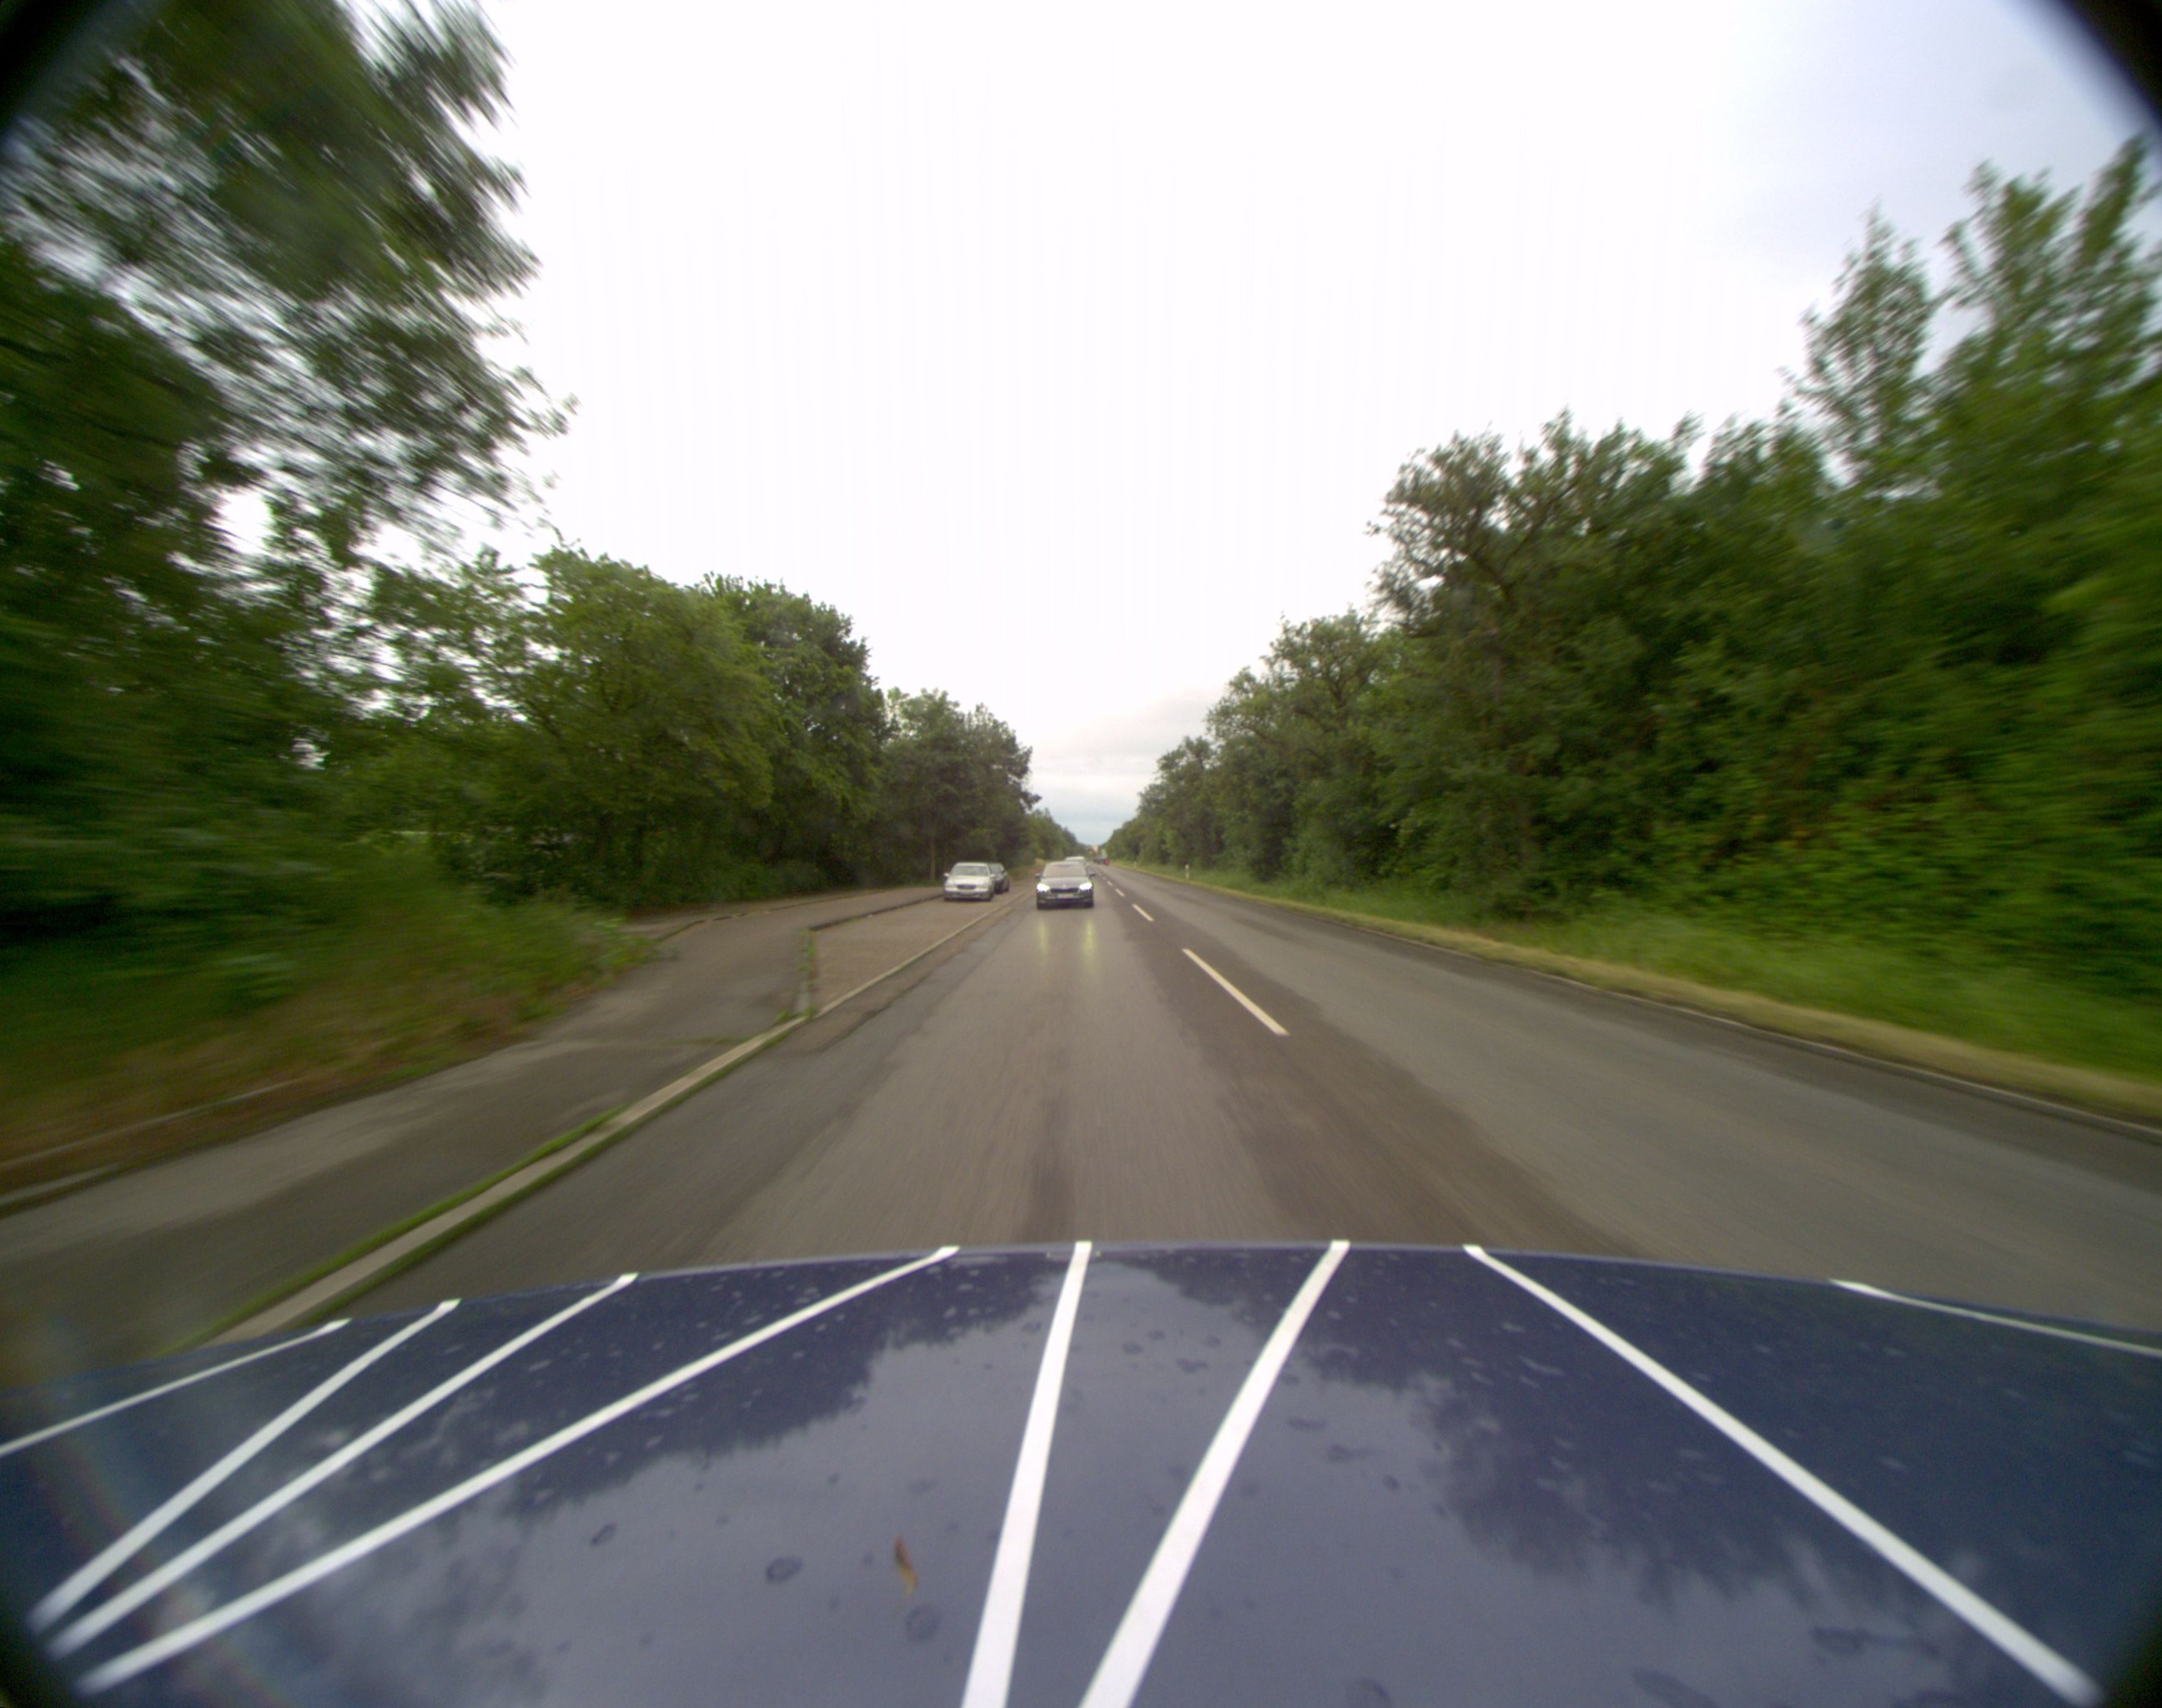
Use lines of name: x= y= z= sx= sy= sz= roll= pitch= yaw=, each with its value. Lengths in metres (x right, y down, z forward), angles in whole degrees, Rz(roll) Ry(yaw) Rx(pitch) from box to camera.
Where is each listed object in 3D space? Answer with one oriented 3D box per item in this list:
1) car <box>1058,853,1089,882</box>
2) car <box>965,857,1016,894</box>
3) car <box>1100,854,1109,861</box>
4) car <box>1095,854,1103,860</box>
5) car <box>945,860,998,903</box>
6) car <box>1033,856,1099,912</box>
car: x=-0.495 y=0.864 z=50.817 sx=1.915 sy=1.690 sz=3.913 roll=-3 pitch=1 yaw=0
car: x=-4.182 y=0.955 z=35.647 sx=1.810 sy=1.501 sz=4.667 roll=1 pitch=1 yaw=0
car: x=4.897 y=0.776 z=161.057 sx=1.793 sy=1.465 sz=3.623 roll=1 pitch=1 yaw=0
car: x=4.647 y=0.742 z=196.491 sx=1.793 sy=1.465 sz=3.623 roll=1 pitch=1 yaw=0
car: x=-4.182 y=1.005 z=29.582 sx=1.749 sy=1.460 sz=4.218 roll=1 pitch=1 yaw=-4
car: x=-0.457 y=0.902 z=25.018 sx=1.915 sy=1.543 sz=4.354 roll=-3 pitch=1 yaw=0
